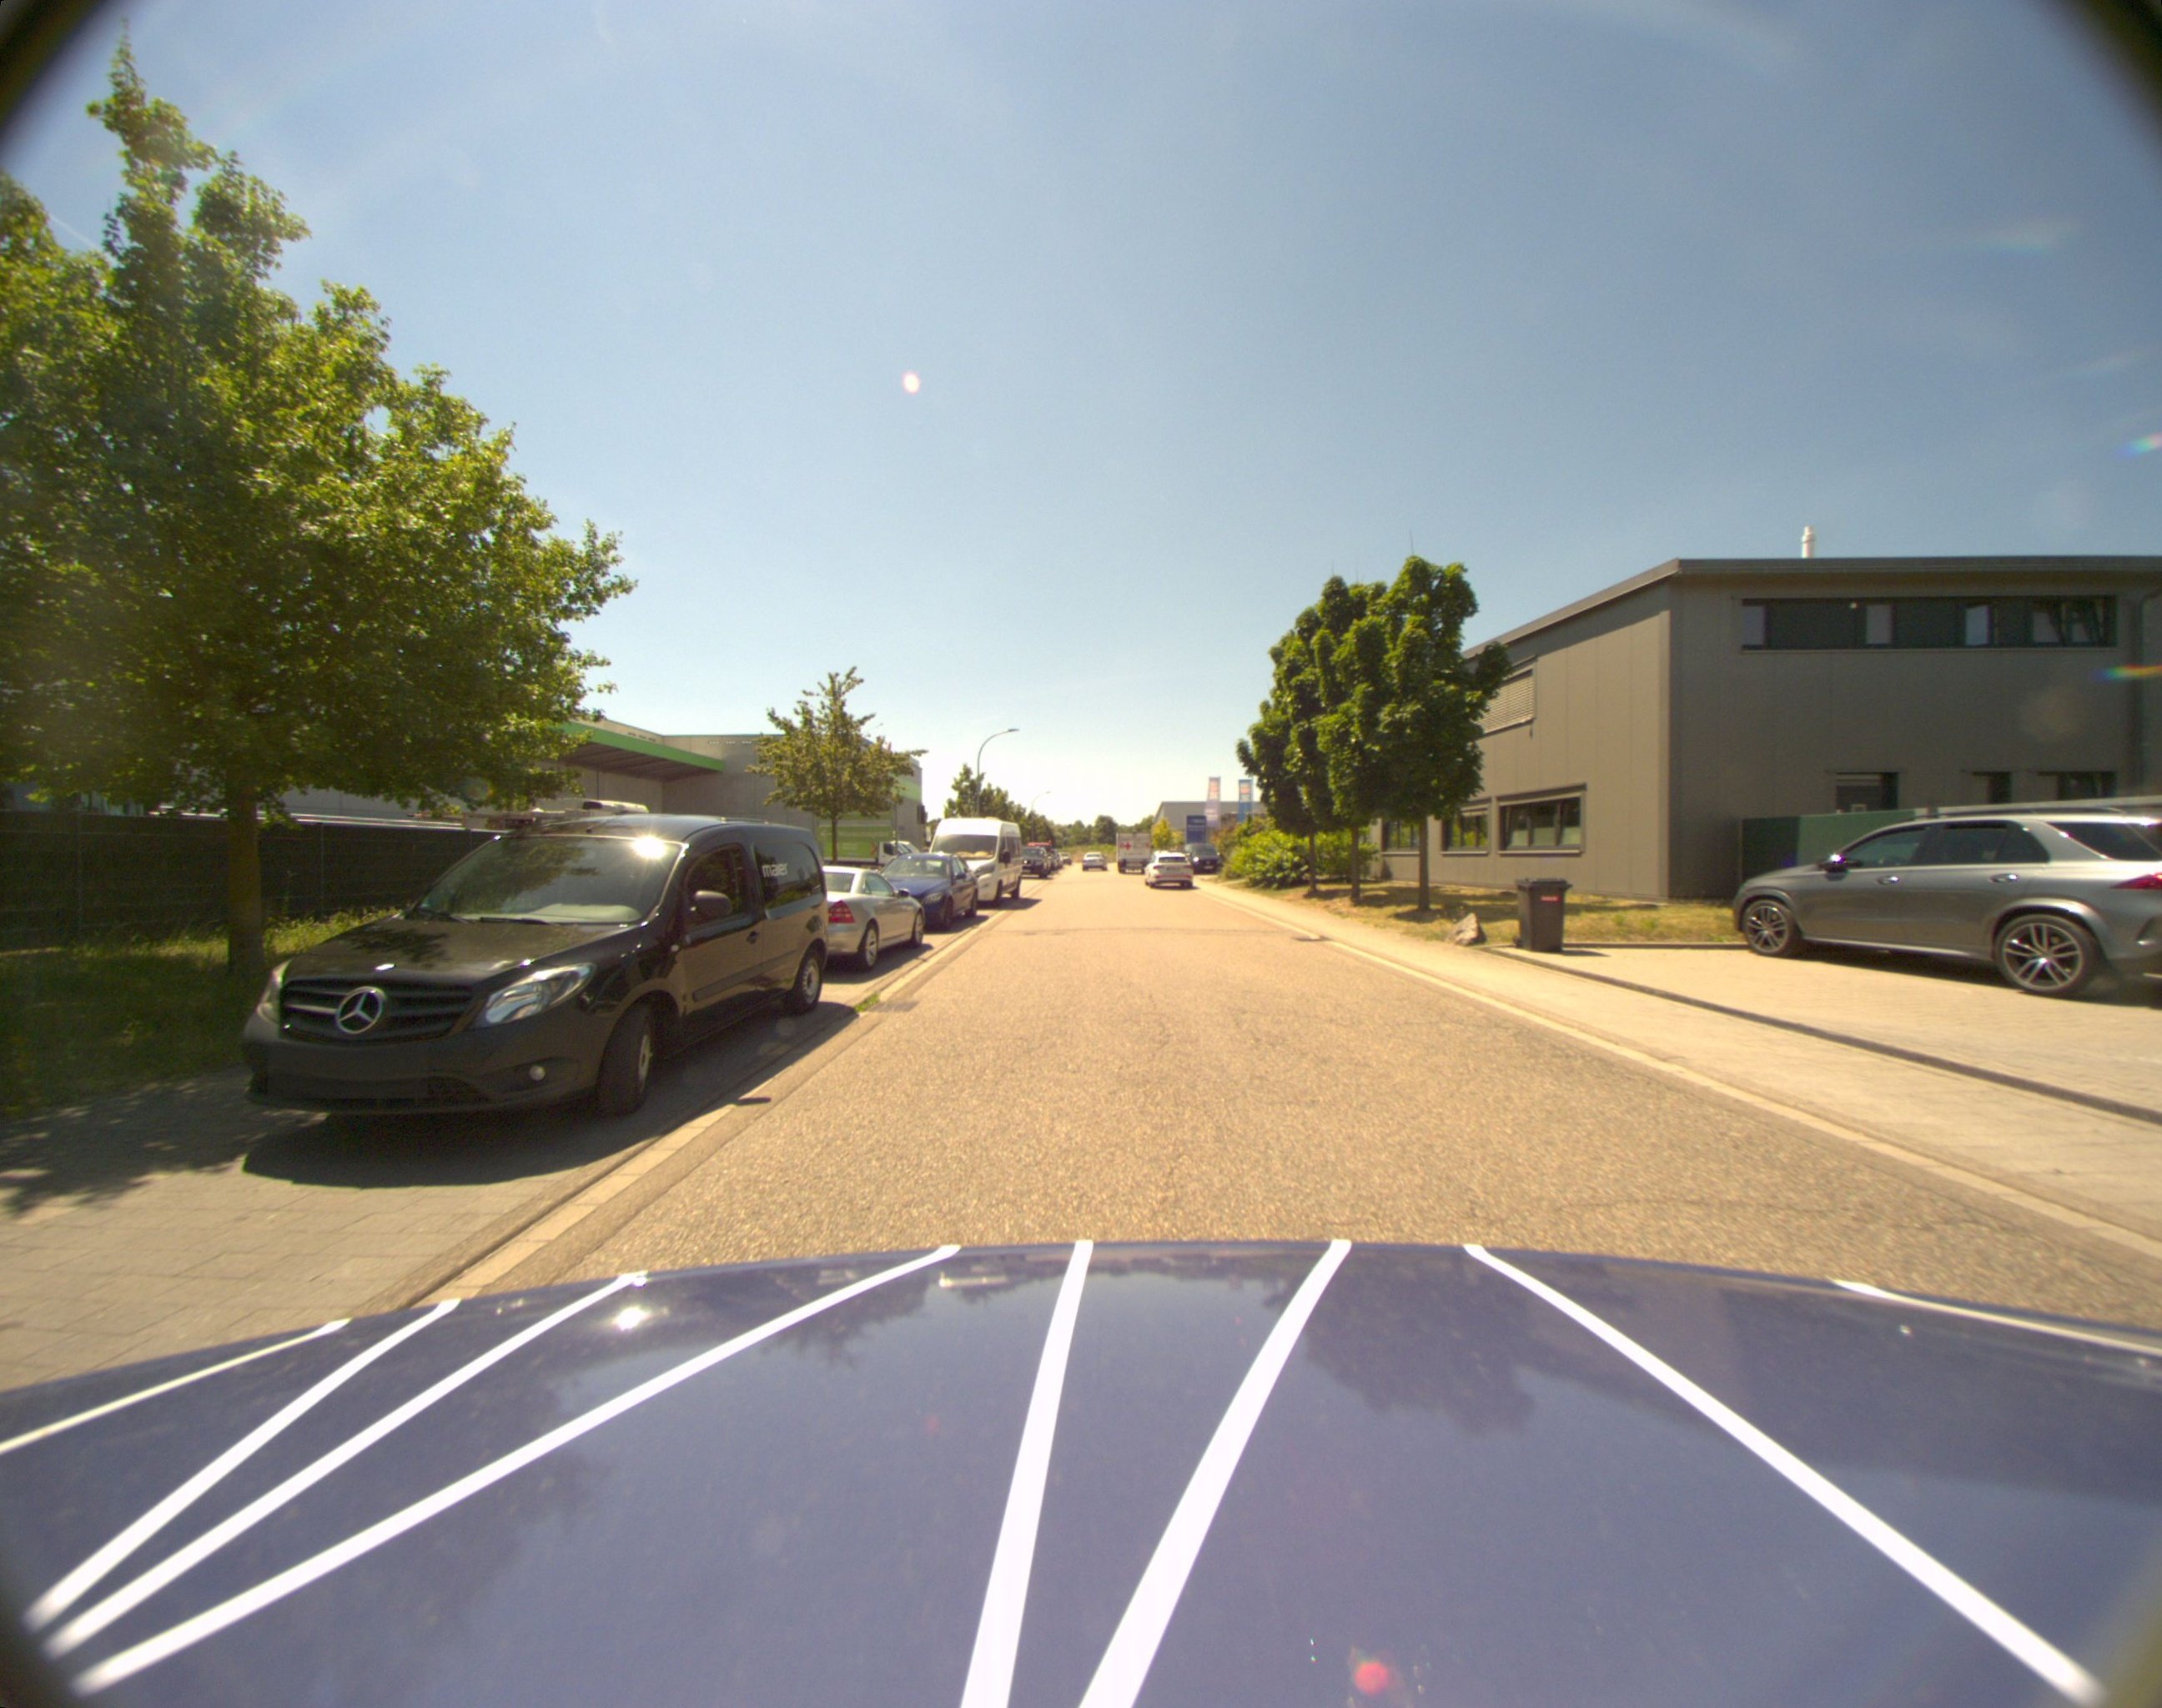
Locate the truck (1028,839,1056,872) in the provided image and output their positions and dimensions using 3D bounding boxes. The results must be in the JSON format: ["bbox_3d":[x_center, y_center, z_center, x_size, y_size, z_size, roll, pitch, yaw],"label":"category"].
[{"bbox_3d":[-2.739,0.087,54.410,1.683,2.169,4.389,2,1,0],"label":"truck"}]

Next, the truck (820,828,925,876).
[{"bbox_3d":[-12.893,-0.133,47.261,5.836,2.896,2.414,0,1,0],"label":"truck"}]

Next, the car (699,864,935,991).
[{"bbox_3d":[-3.397,0.860,10.678,1.715,1.280,4.115,0,1,3],"label":"car"}]

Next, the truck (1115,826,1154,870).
[{"bbox_3d":[3.698,-0.458,54.018,2.367,2.843,6.414,2,1,1],"label":"truck"}]

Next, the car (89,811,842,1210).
[{"bbox_3d":[-3.467,0.685,5.627,1.998,1.815,4.353,0,1,0],"label":"car"}]

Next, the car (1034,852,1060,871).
[{"bbox_3d":[-2.602,0.584,59.889,1.702,1.375,4.837,2,1,1],"label":"car"}]

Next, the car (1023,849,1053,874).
[{"bbox_3d":[-2.776,0.459,49.942,1.743,1.522,3.999,2,1,-1],"label":"car"}]

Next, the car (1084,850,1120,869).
[{"bbox_3d":[1.722,0.387,59.994,1.785,1.414,4.419,1,1,16],"label":"car"}]

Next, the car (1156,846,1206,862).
[{"bbox_3d":[9.040,0.014,69.054,4.319,1.423,1.846,0,1,2],"label":"car"}]

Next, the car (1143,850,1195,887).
[{"bbox_3d":[3.691,0.564,32.523,1.734,1.450,4.491,-1,1,1],"label":"car"}]

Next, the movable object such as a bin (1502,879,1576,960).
[{"bbox_3d":[6.559,0.922,10.918,0.580,1.059,0.765,-2,1,0],"label":"movable object such as a bin"}]

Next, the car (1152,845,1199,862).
[{"bbox_3d":[8.909,-0.057,71.802,4.273,1.509,1.866,0,1,0],"label":"car"}]

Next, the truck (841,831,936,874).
[{"bbox_3d":[-12.975,-0.122,51.563,5.918,2.855,2.305,0,1,-2],"label":"truck"}]

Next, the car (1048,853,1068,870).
[{"bbox_3d":[-2.163,0.714,71.111,1.718,1.474,4.772,1,0,-2],"label":"car"}]

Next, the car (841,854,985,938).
[{"bbox_3d":[-3.320,0.759,15.961,1.833,1.485,4.478,1,0,3],"label":"car"}]

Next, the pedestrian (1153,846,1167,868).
[{"bbox_3d":[5.683,0.198,54.489,0.901,1.565,0.785,-2,1,2],"label":"pedestrian"}]

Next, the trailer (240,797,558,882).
[{"bbox_3d":[-32.160,-0.691,36.135,12.649,3.853,2.803,0,2,1],"label":"trailer"}]

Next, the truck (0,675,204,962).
[{"bbox_3d":[-19.408,-0.522,10.388,10.012,3.800,3.034,0,1,-10],"label":"truck"}]

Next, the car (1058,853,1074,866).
[{"bbox_3d":[-1.949,0.712,99.523,1.809,1.626,4.458,1,0,1],"label":"car"}]

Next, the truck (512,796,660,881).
[{"bbox_3d":[-23.305,-0.723,35.985,5.075,3.853,2.803,0,2,1],"label":"truck"}]

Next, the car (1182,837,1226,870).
[{"bbox_3d":[7.692,-0.060,48.017,1.998,1.945,5.217,-1,1,1],"label":"car"}]

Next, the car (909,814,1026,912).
[{"bbox_3d":[-3.130,0.202,22.585,2.273,2.483,6.152,1,1,3],"label":"car"}]

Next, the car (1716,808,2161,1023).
[{"bbox_3d":[9.847,0.479,8.259,1.998,1.725,4.915,-2,0,4],"label":"car"}]

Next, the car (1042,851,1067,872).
[{"bbox_3d":[-2.276,0.608,65.548,1.815,1.715,4.774,1,0,1],"label":"car"}]

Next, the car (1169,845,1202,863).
[{"bbox_3d":[9.158,-0.007,66.793,2.748,1.509,1.535,0,1,0],"label":"car"}]

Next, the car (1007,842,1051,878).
[{"bbox_3d":[-2.845,0.312,42.979,1.998,1.874,5.155,1,1,1],"label":"car"}]
